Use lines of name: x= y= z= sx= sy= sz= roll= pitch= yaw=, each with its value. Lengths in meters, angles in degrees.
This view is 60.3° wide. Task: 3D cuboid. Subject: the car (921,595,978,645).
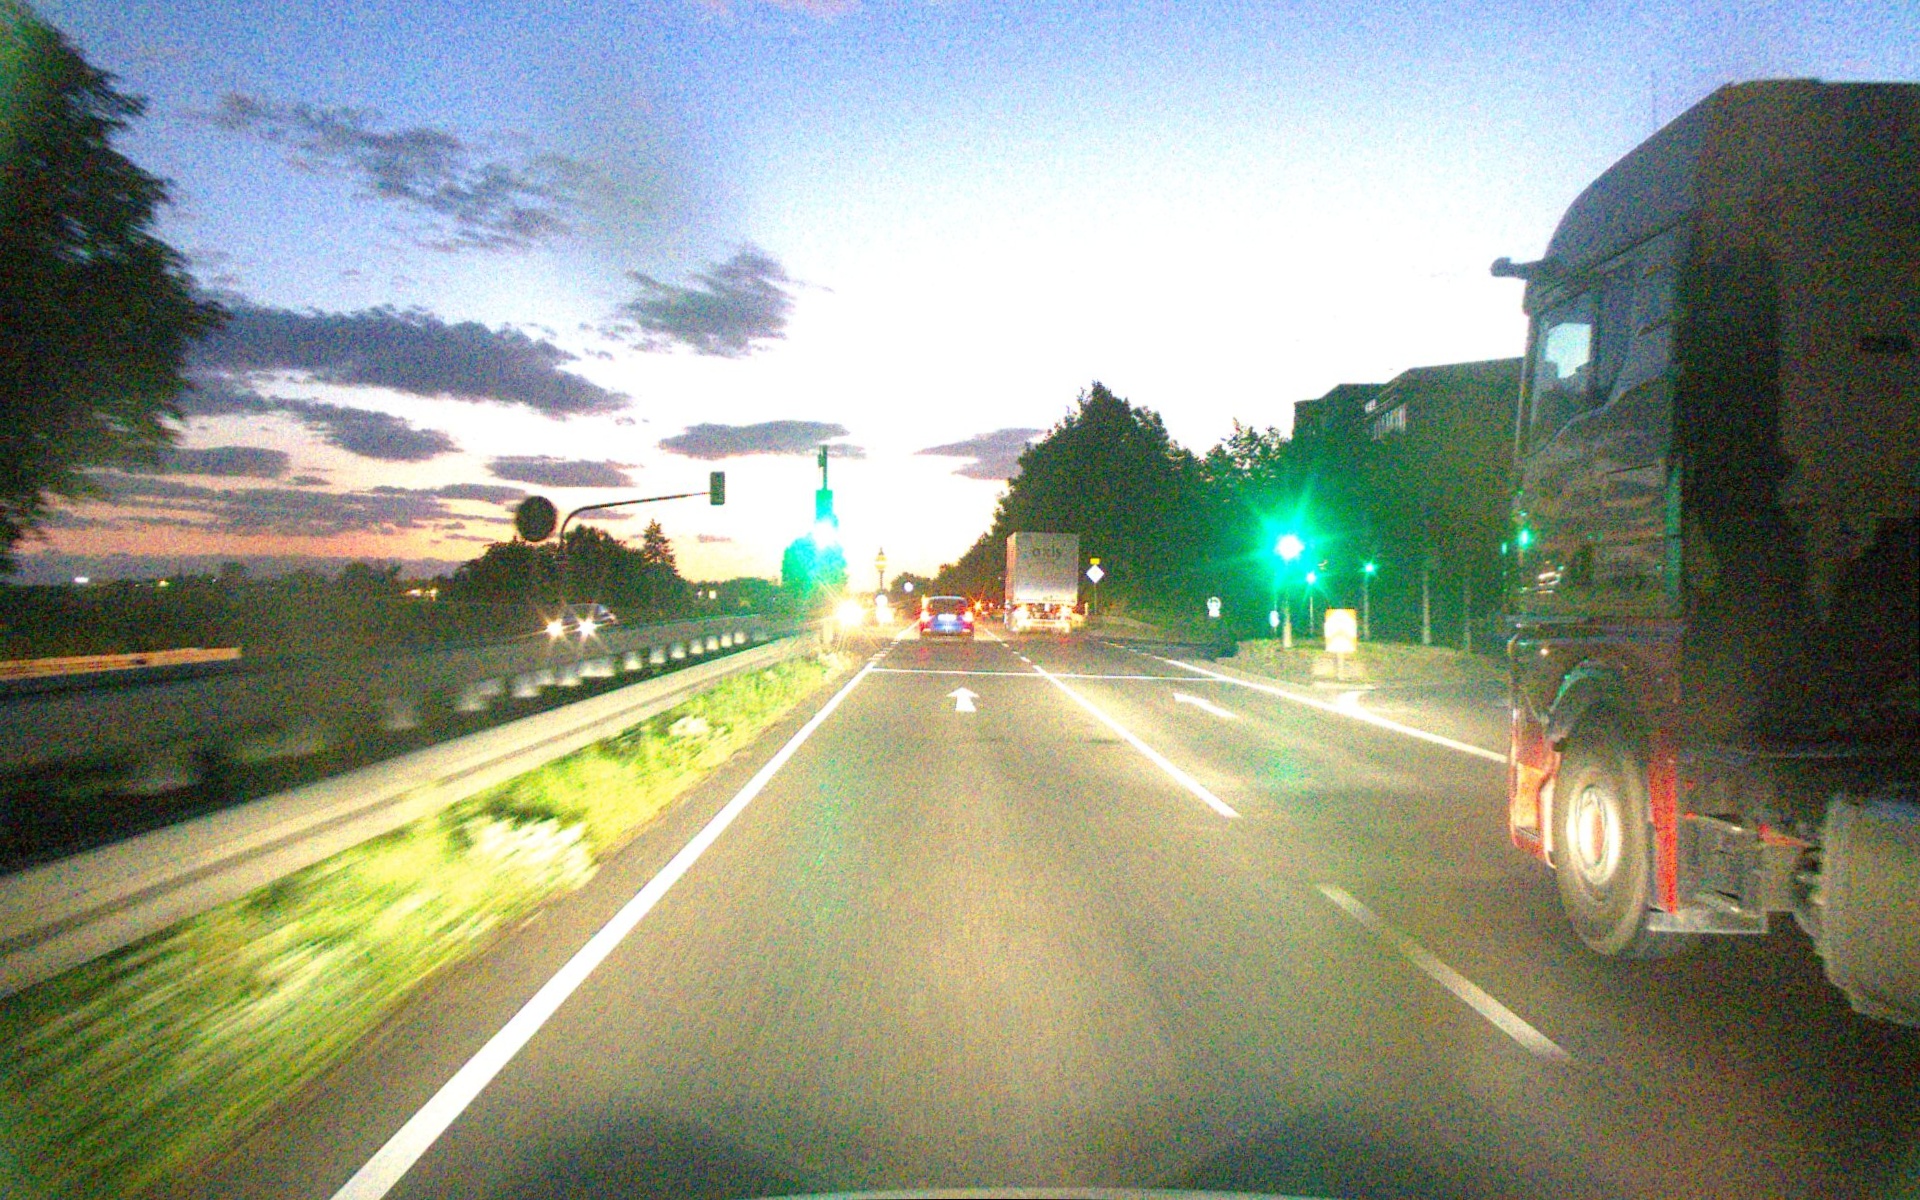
car: x=-0.368 y=0.589 z=51.509 sx=1.661 sy=1.478 sz=3.912 roll=1 pitch=0 yaw=-2

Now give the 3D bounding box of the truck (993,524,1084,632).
truck: x=3.194 y=-0.868 z=70.720 sx=2.825 sy=4.178 sz=12.678 roll=1 pitch=0 yaw=-2

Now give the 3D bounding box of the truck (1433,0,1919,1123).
truck: x=4.123 y=-0.567 z=2.852 sx=2.633 sy=4.178 sz=13.139 roll=1 pitch=0 yaw=-1

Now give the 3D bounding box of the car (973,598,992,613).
car: x=2.215 y=0.526 z=161.534 sx=1.661 sy=1.478 sz=3.912 roll=1 pitch=0 yaw=-2

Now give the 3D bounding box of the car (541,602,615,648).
car: x=-12.407 y=0.786 z=53.852 sx=1.573 sy=1.353 sz=3.938 roll=-2 pitch=0 yaw=-2
